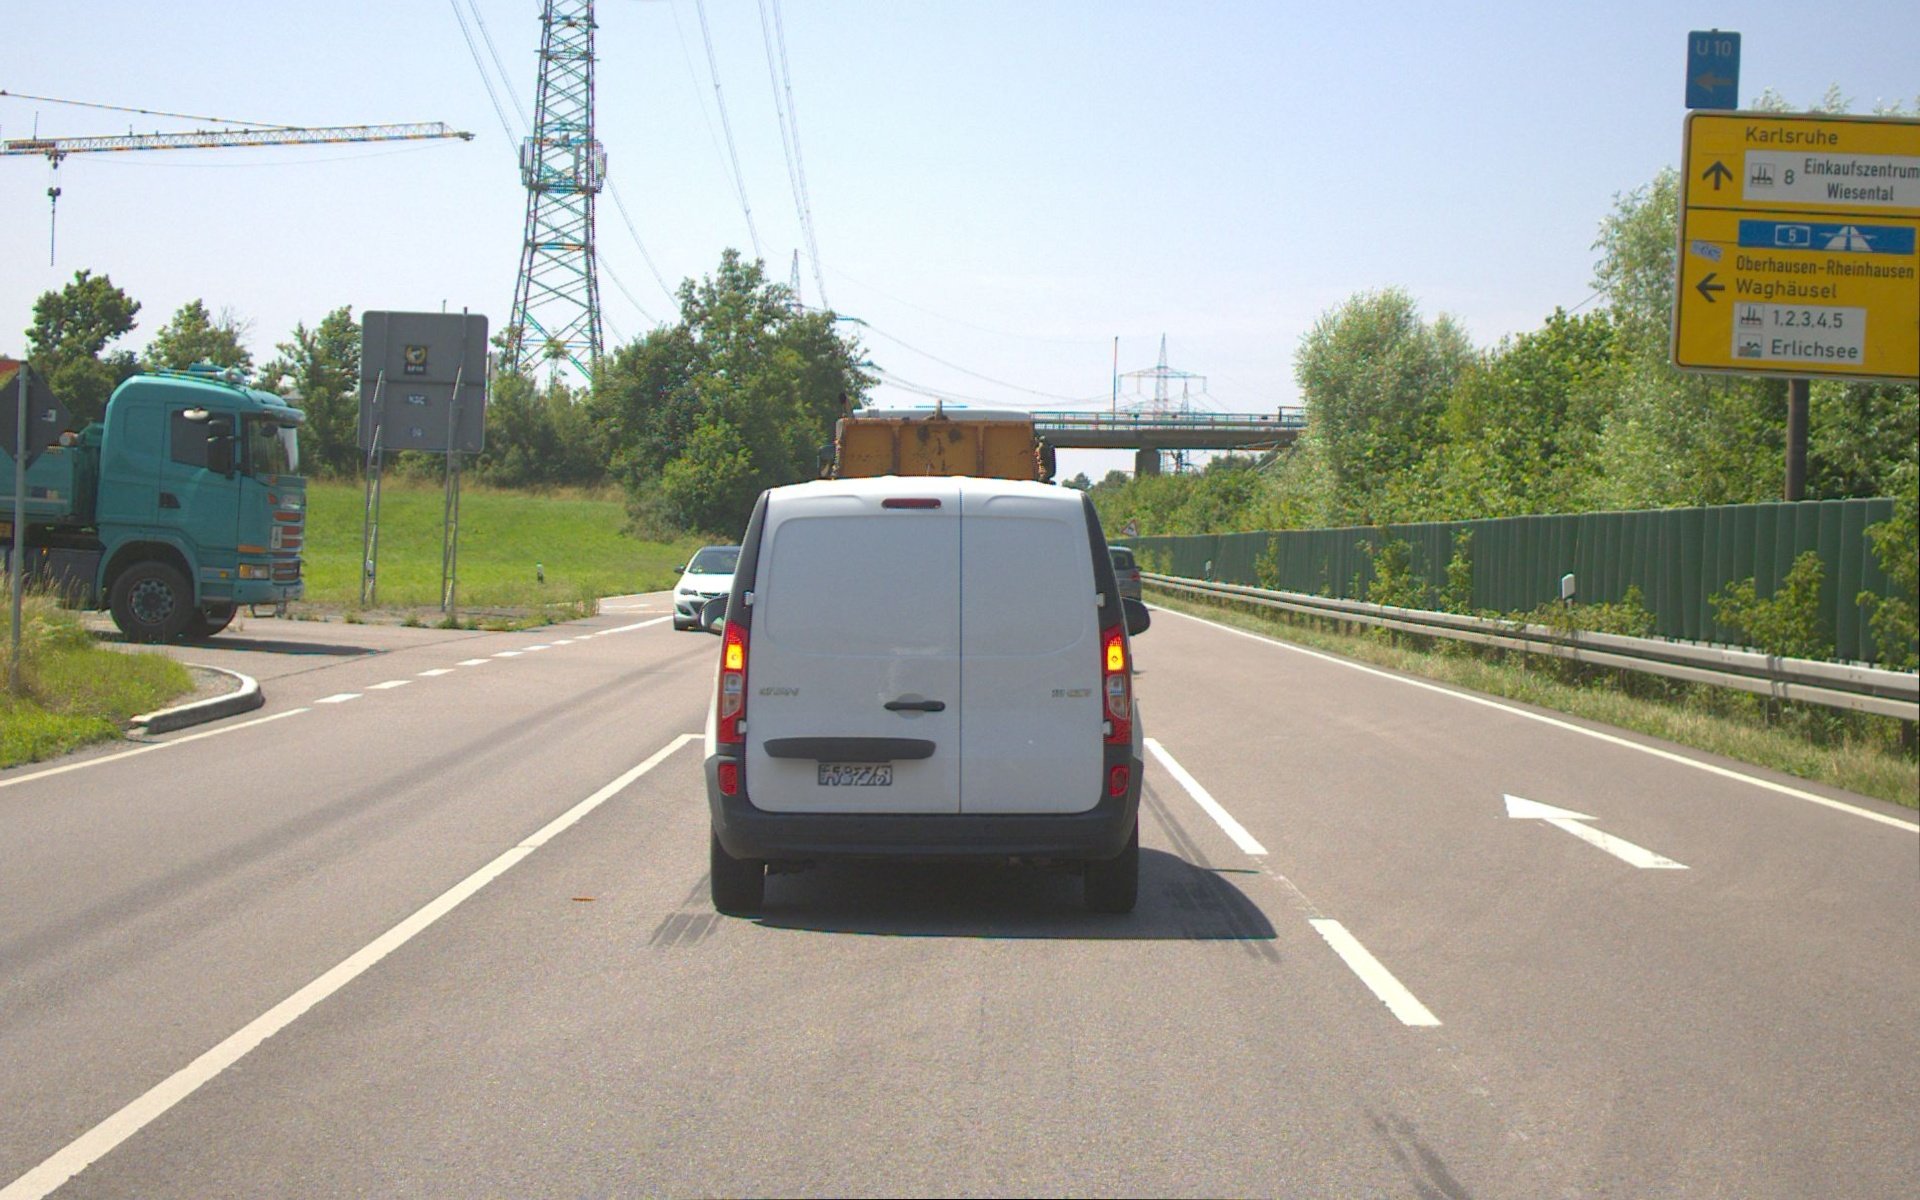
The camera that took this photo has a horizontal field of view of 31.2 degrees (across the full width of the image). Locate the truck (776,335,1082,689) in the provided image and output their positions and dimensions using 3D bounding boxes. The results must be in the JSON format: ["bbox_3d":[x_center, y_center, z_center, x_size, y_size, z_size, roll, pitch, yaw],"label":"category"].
[{"bbox_3d":[-0.243,-0.967,37.268,2.820,3.277,9.701,1,2,1],"label":"truck"}]

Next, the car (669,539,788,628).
[{"bbox_3d":[-4.033,-0.319,60.368,1.725,1.436,4.249,2,1,1],"label":"car"}]

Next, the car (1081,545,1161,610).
[{"bbox_3d":[4.022,-0.580,86.264,1.848,1.568,4.000,1,1,1],"label":"car"}]

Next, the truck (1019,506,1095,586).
[{"bbox_3d":[3.402,-1.920,122.088,2.374,2.680,8.010,2,1,0],"label":"truck"}]

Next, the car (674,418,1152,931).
[{"bbox_3d":[-0.183,0.254,15.303,1.827,1.964,4.000,1,1,0],"label":"car"}]

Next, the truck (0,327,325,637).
[{"bbox_3d":[-12.568,-1.639,44.797,7.905,3.721,2.498,3,1,3],"label":"truck"}]
